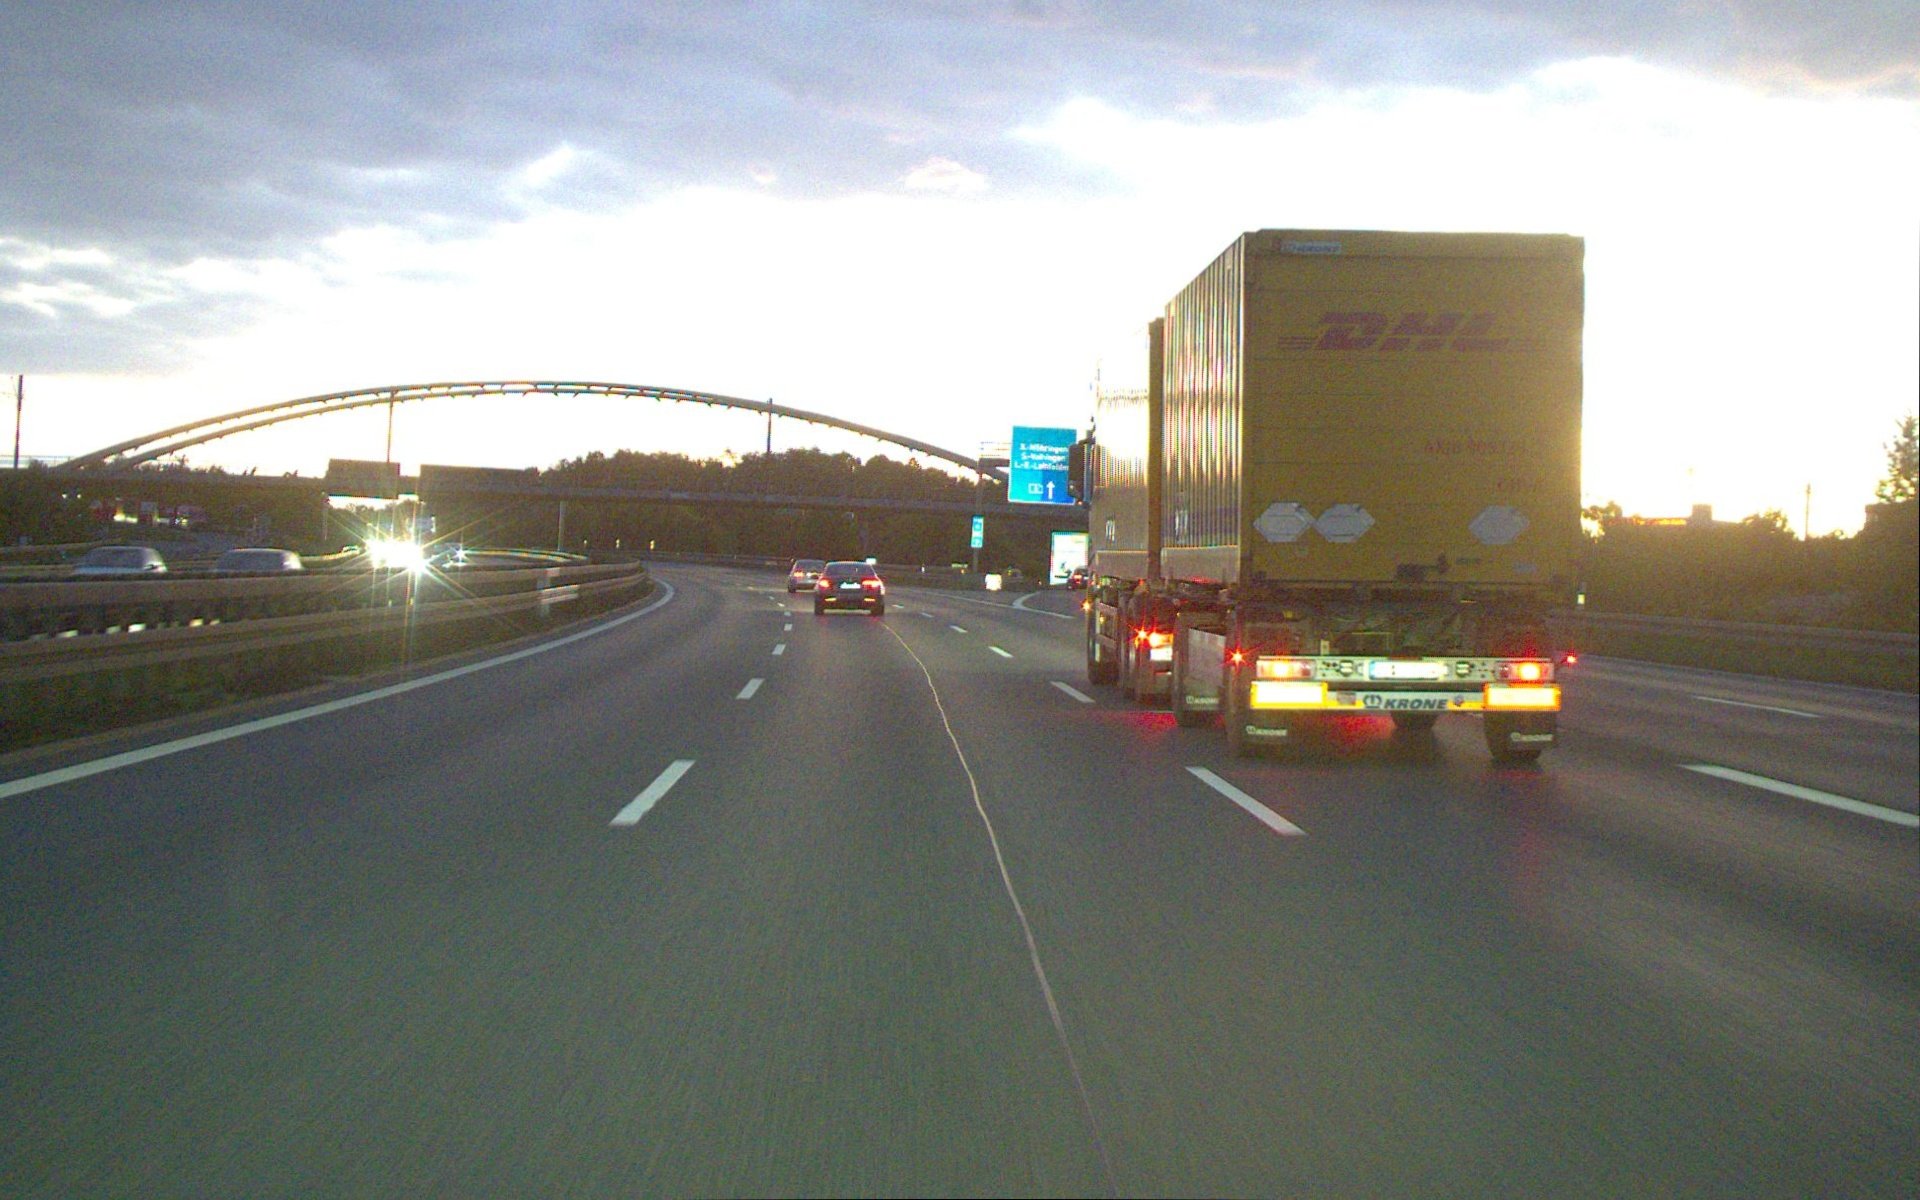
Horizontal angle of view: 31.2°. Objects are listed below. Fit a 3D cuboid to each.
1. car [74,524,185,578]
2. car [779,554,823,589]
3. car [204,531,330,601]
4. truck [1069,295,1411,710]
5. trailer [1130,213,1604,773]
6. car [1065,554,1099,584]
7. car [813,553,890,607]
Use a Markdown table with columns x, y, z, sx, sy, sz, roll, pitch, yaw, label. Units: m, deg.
| x | y | z | sx | sy | sz | roll | pitch | yaw | label |
| --- | --- | --- | --- | --- | --- | --- | --- | --- | --- |
| -19.890 | -1.199 | 82.469 | 1.721 | 1.223 | 4.183 | 1 | 1 | -2 | car |
| -6.852 | -1.226 | 148.168 | 1.689 | 1.397 | 3.408 | 1 | -1 | 0 | car |
| -14.696 | -0.748 | 73.075 | 1.993 | 1.399 | 4.330 | 1 | 1 | -3 | car |
| 2.946 | -1.073 | 39.396 | 2.690 | 4.057 | 10.521 | 1 | 1 | -2 | truck |
| 3.212 | -0.874 | 29.710 | 2.721 | 4.057 | 8.832 | 1 | 1 | -2 | trailer |
| 7.746 | -1.964 | 217.483 | 1.994 | 1.711 | 3.999 | 2 | -1 | 4 | car |
| -2.963 | -0.522 | 93.006 | 1.689 | 1.396 | 3.409 | 1 | 0 | -8 | car |
